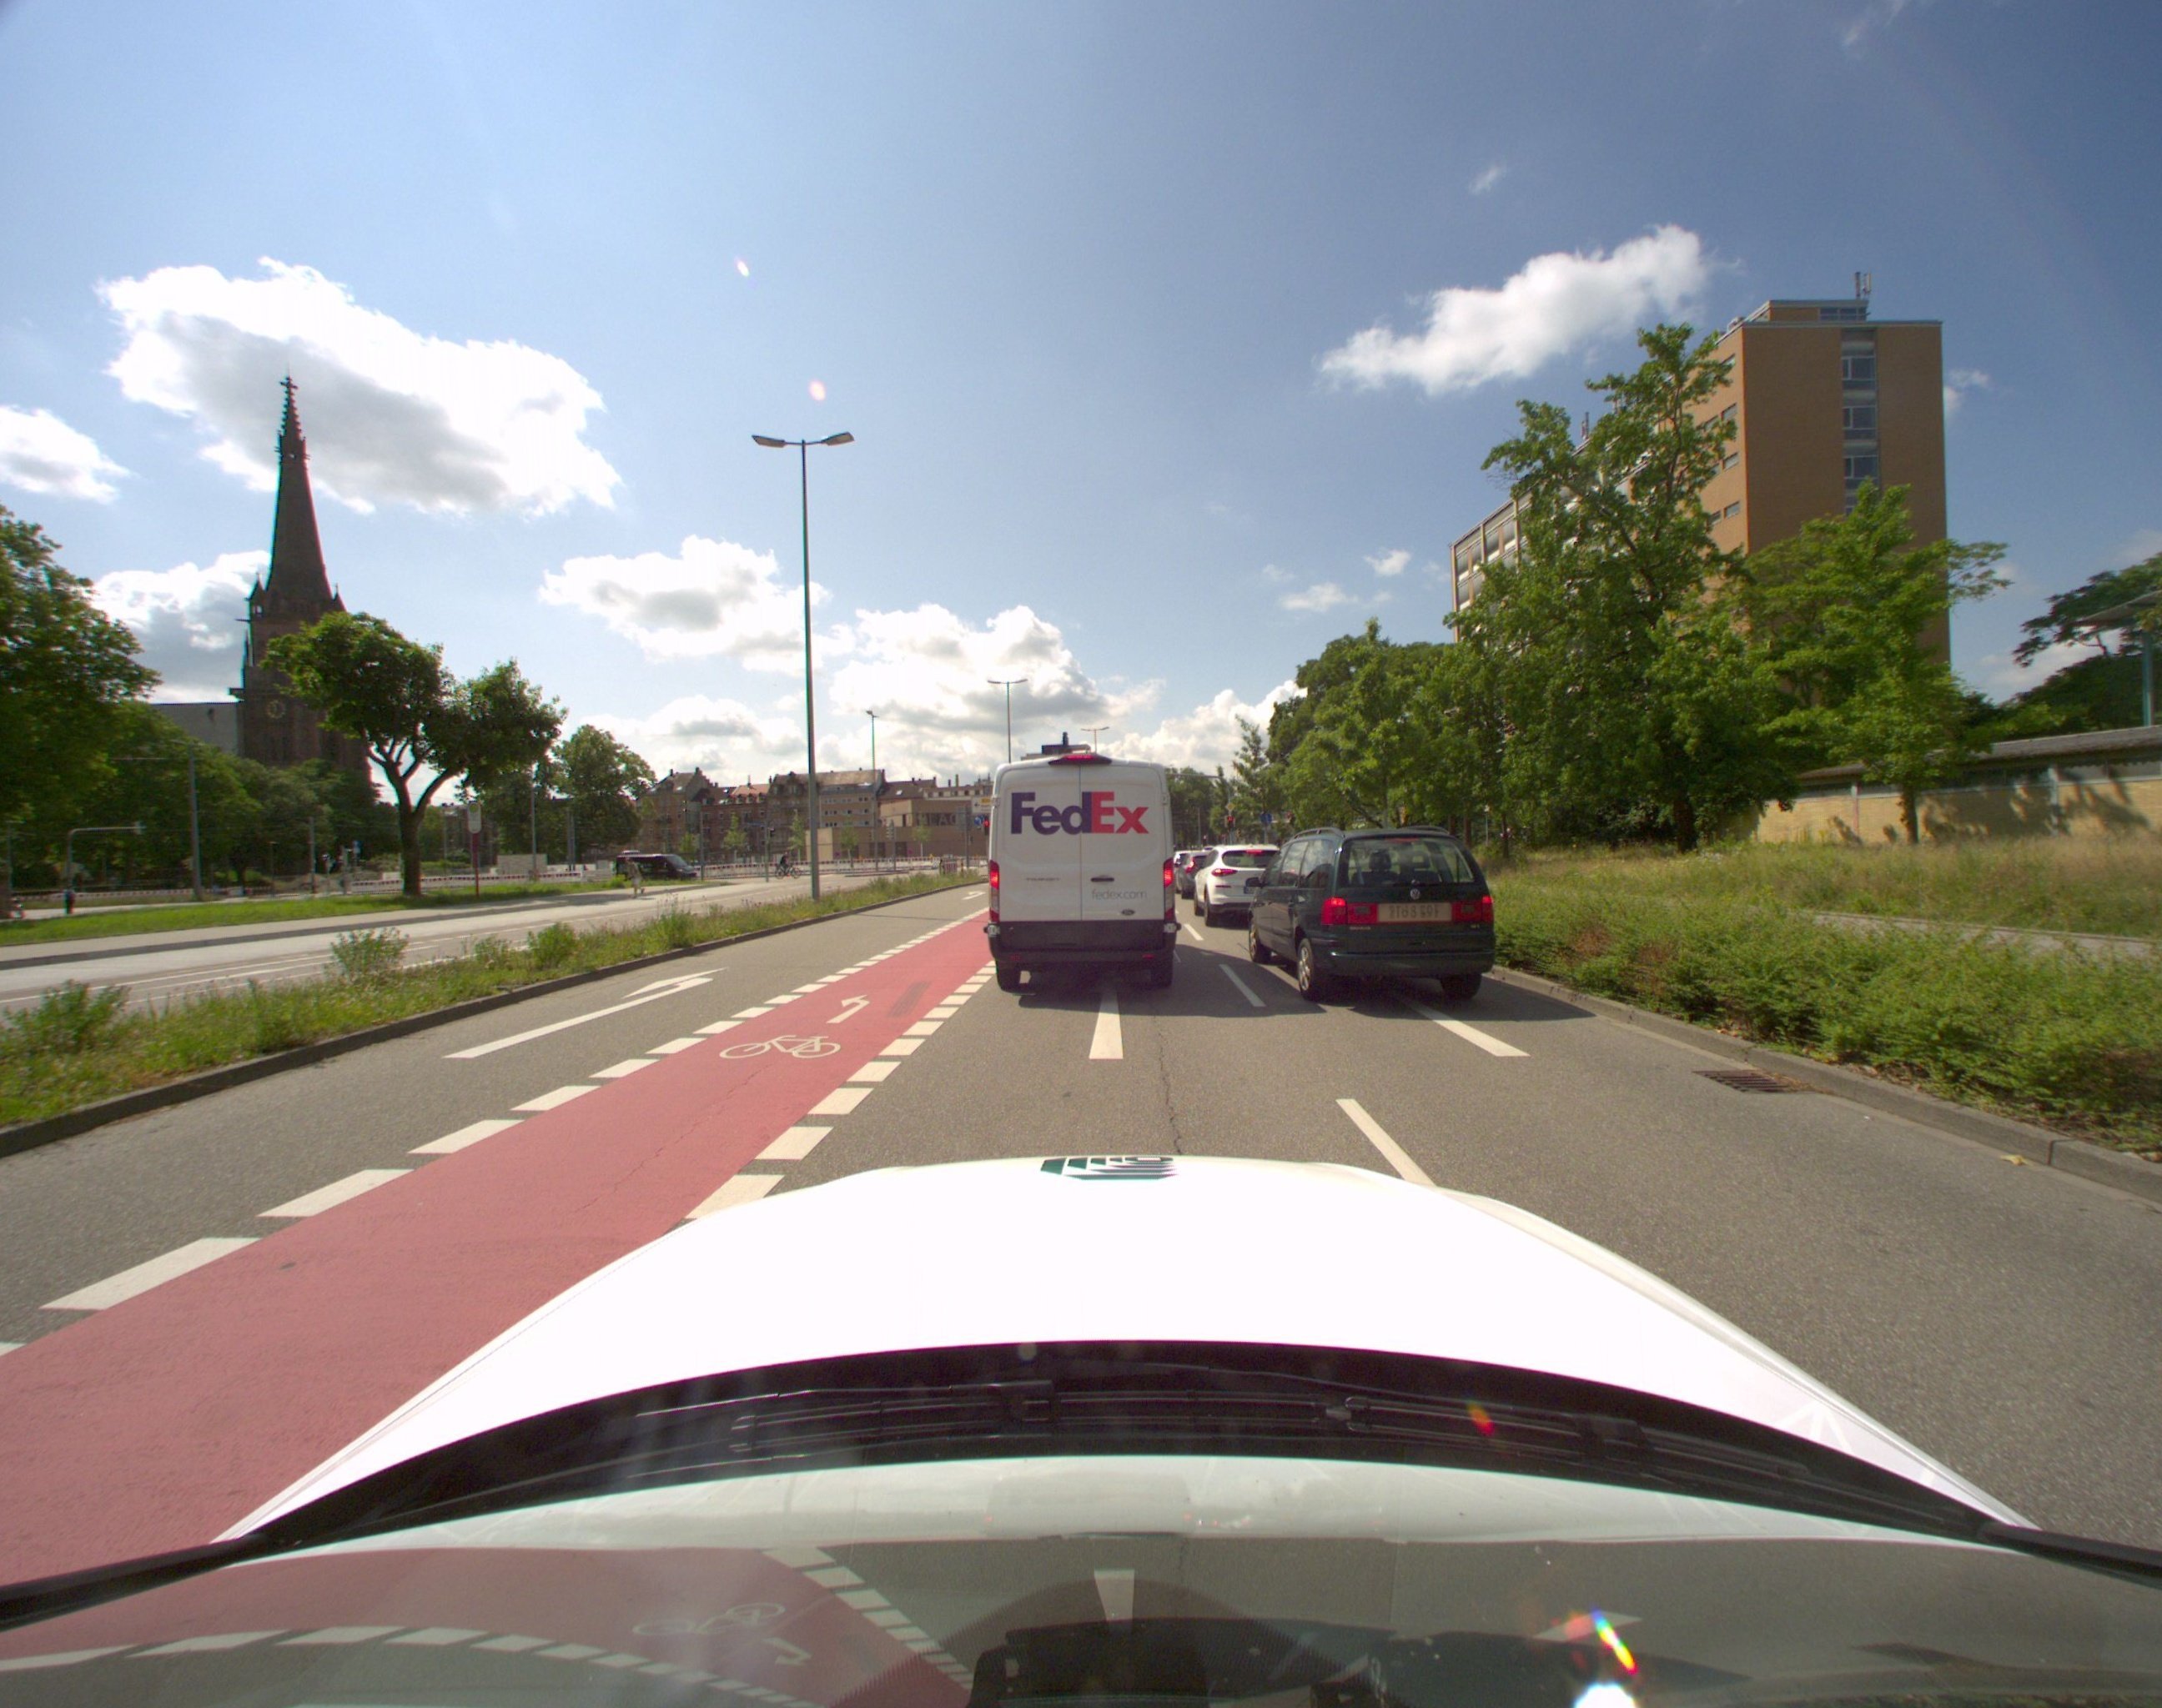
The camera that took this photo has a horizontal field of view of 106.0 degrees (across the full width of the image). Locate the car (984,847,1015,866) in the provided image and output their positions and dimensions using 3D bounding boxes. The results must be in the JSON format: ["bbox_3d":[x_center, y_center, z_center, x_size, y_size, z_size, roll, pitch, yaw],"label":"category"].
[{"bbox_3d":[-8.763,0.245,87.979,1.978,2.013,4.017,-2,0,16],"label":"car"}]

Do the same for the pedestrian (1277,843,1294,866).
[{"bbox_3d":[12.410,0.020,49.407,0.842,1.389,0.741,-2,0,1],"label":"pedestrian"}]

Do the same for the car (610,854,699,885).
[{"bbox_3d":[-29.225,1.046,55.917,4.995,1.878,1.928,-2,1,-2],"label":"car"}]

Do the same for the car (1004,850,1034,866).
[{"bbox_3d":[-6.596,0.411,87.186,1.886,1.585,4.017,-2,0,16],"label":"car"}]

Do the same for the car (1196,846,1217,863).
[{"bbox_3d":[14.087,0.097,91.541,1.980,1.794,4.386,-2,0,12],"label":"car"}]

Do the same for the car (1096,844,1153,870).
[{"bbox_3d":[3.668,0.264,68.170,2.073,2.013,4.671,-2,-1,44],"label":"car"}]

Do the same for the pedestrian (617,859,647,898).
[{"bbox_3d":[-18.179,0.982,32.987,0.548,1.560,0.881,-2,0,35],"label":"pedestrian"}]

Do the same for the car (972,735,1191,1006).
[{"bbox_3d":[-0.090,0.152,10.959,2.135,2.652,5.699,-1,0,-2],"label":"car"}]

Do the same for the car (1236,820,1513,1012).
[{"bbox_3d":[3.106,0.546,9.658,1.805,1.734,4.390,-1,0,2],"label":"car"}]

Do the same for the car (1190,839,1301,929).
[{"bbox_3d":[3.416,0.560,17.610,1.790,1.687,4.004,-2,0,4],"label":"car"}]

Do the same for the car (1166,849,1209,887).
[{"bbox_3d":[4.300,0.535,33.145,1.478,1.428,3.436,-2,0,4],"label":"car"}]

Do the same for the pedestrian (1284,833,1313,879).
[{"bbox_3d":[9.074,0.082,34.013,0.947,1.892,0.774,-2,0,1],"label":"pedestrian"}]

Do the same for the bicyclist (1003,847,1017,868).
[{"bbox_3d":[-5.134,0.257,58.982,0.966,1.474,0.550,-2,0,-6],"label":"bicyclist"}]

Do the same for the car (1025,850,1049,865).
[{"bbox_3d":[-5.037,0.384,93.340,1.867,1.652,4.011,-2,0,10],"label":"car"}]

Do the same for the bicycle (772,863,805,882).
[{"bbox_3d":[-21.189,1.364,59.021,2.062,1.290,0.603,-2,0,-7],"label":"bicycle"}]

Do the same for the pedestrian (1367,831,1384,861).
[{"bbox_3d":[20.780,-0.565,57.532,0.739,2.057,0.843,-2,0,-15],"label":"pedestrian"}]

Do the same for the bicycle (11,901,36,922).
[{"bbox_3d":[-50.319,2.737,38.751,1.644,0.902,0.549,-1,0,43],"label":"bicycle"}]

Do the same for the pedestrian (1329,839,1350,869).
[{"bbox_3d":[13.583,0.010,42.843,0.841,1.539,0.835,-2,0,1],"label":"pedestrian"}]

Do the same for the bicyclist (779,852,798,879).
[{"bbox_3d":[-21.192,0.835,59.016,1.118,1.844,0.592,-2,1,-8],"label":"bicyclist"}]

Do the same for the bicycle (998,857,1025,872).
[{"bbox_3d":[-5.036,0.749,58.987,1.917,1.030,0.547,-2,0,-6],"label":"bicycle"}]

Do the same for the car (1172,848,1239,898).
[{"bbox_3d":[3.963,0.562,26.392,1.790,1.461,3.842,-2,0,4],"label":"car"}]
